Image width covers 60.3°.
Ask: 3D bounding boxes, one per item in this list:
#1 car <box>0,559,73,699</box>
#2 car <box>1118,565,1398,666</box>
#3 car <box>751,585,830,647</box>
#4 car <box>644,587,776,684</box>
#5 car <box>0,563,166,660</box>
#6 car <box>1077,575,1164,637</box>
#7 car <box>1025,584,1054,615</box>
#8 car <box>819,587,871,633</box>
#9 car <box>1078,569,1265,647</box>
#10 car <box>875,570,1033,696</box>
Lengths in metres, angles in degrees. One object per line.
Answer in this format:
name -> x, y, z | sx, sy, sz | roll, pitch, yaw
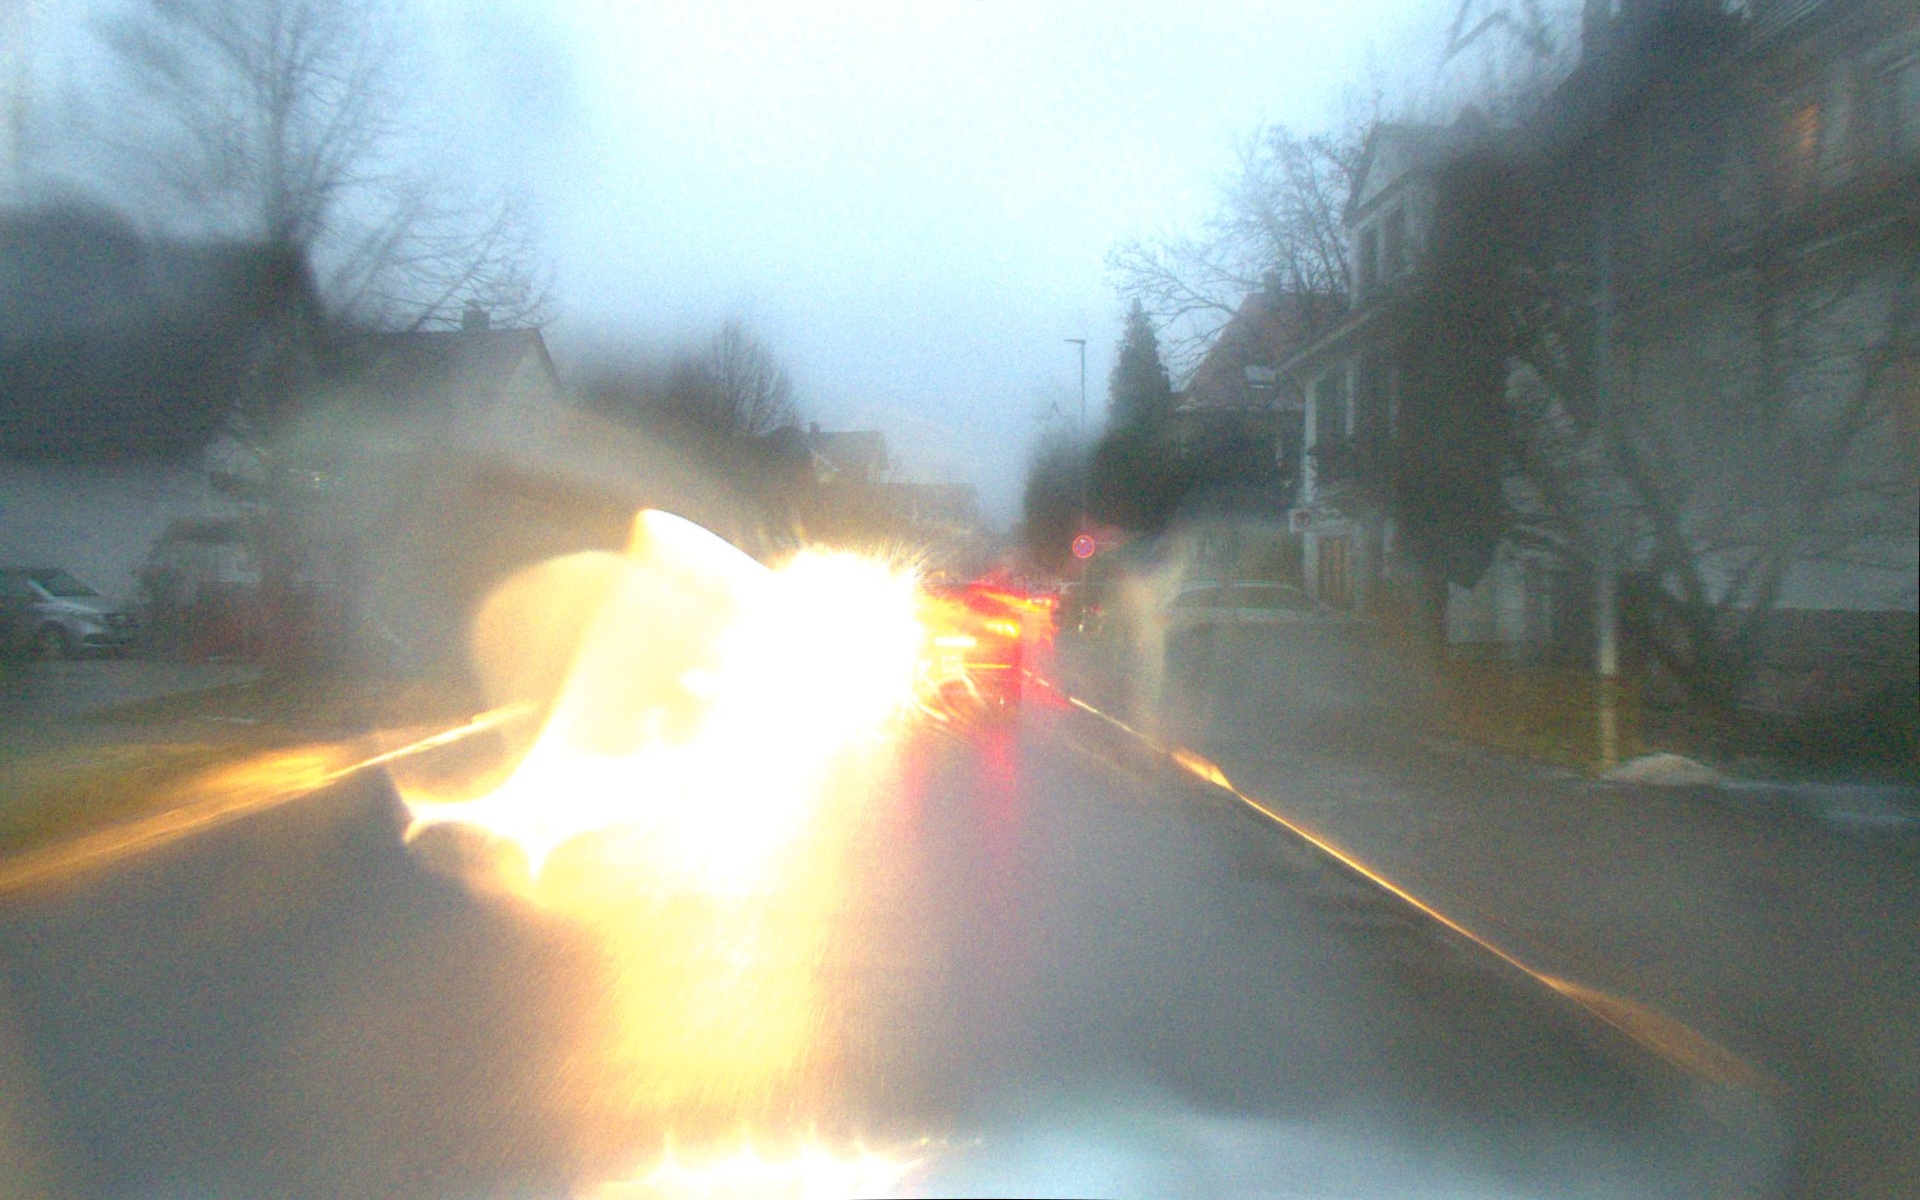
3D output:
car -> -13.219, 0.383, 20.500 | 1.952, 1.786, 4.568 | 0, 0, 0
car -> 5.127, 0.251, 28.934 | 4.634, 1.658, 1.908 | -1, 1, 4
car -> -4.341, 0.387, 42.888 | 1.669, 1.466, 4.423 | -2, 0, -2
car -> -4.109, 0.539, 27.692 | 1.669, 1.466, 3.999 | -2, 0, -2
car -> -18.212, 0.225, 32.397 | 4.455, 1.831, 1.913 | 0, 0, 7
car -> 4.240, 0.133, 44.437 | 1.854, 1.581, 4.755 | 0, 1, 0
car -> 5.458, -0.076, 113.305 | 1.952, 2.049, 4.002 | -1, 1, 3
car -> -4.429, 0.347, 64.294 | 1.777, 1.661, 4.223 | -1, 1, -1
car -> 4.828, 0.184, 38.107 | 4.019, 1.736, 1.999 | 0, -1, -2
car -> -0.134, 0.397, 22.672 | 1.953, 1.552, 3.999 | 1, 0, -2
